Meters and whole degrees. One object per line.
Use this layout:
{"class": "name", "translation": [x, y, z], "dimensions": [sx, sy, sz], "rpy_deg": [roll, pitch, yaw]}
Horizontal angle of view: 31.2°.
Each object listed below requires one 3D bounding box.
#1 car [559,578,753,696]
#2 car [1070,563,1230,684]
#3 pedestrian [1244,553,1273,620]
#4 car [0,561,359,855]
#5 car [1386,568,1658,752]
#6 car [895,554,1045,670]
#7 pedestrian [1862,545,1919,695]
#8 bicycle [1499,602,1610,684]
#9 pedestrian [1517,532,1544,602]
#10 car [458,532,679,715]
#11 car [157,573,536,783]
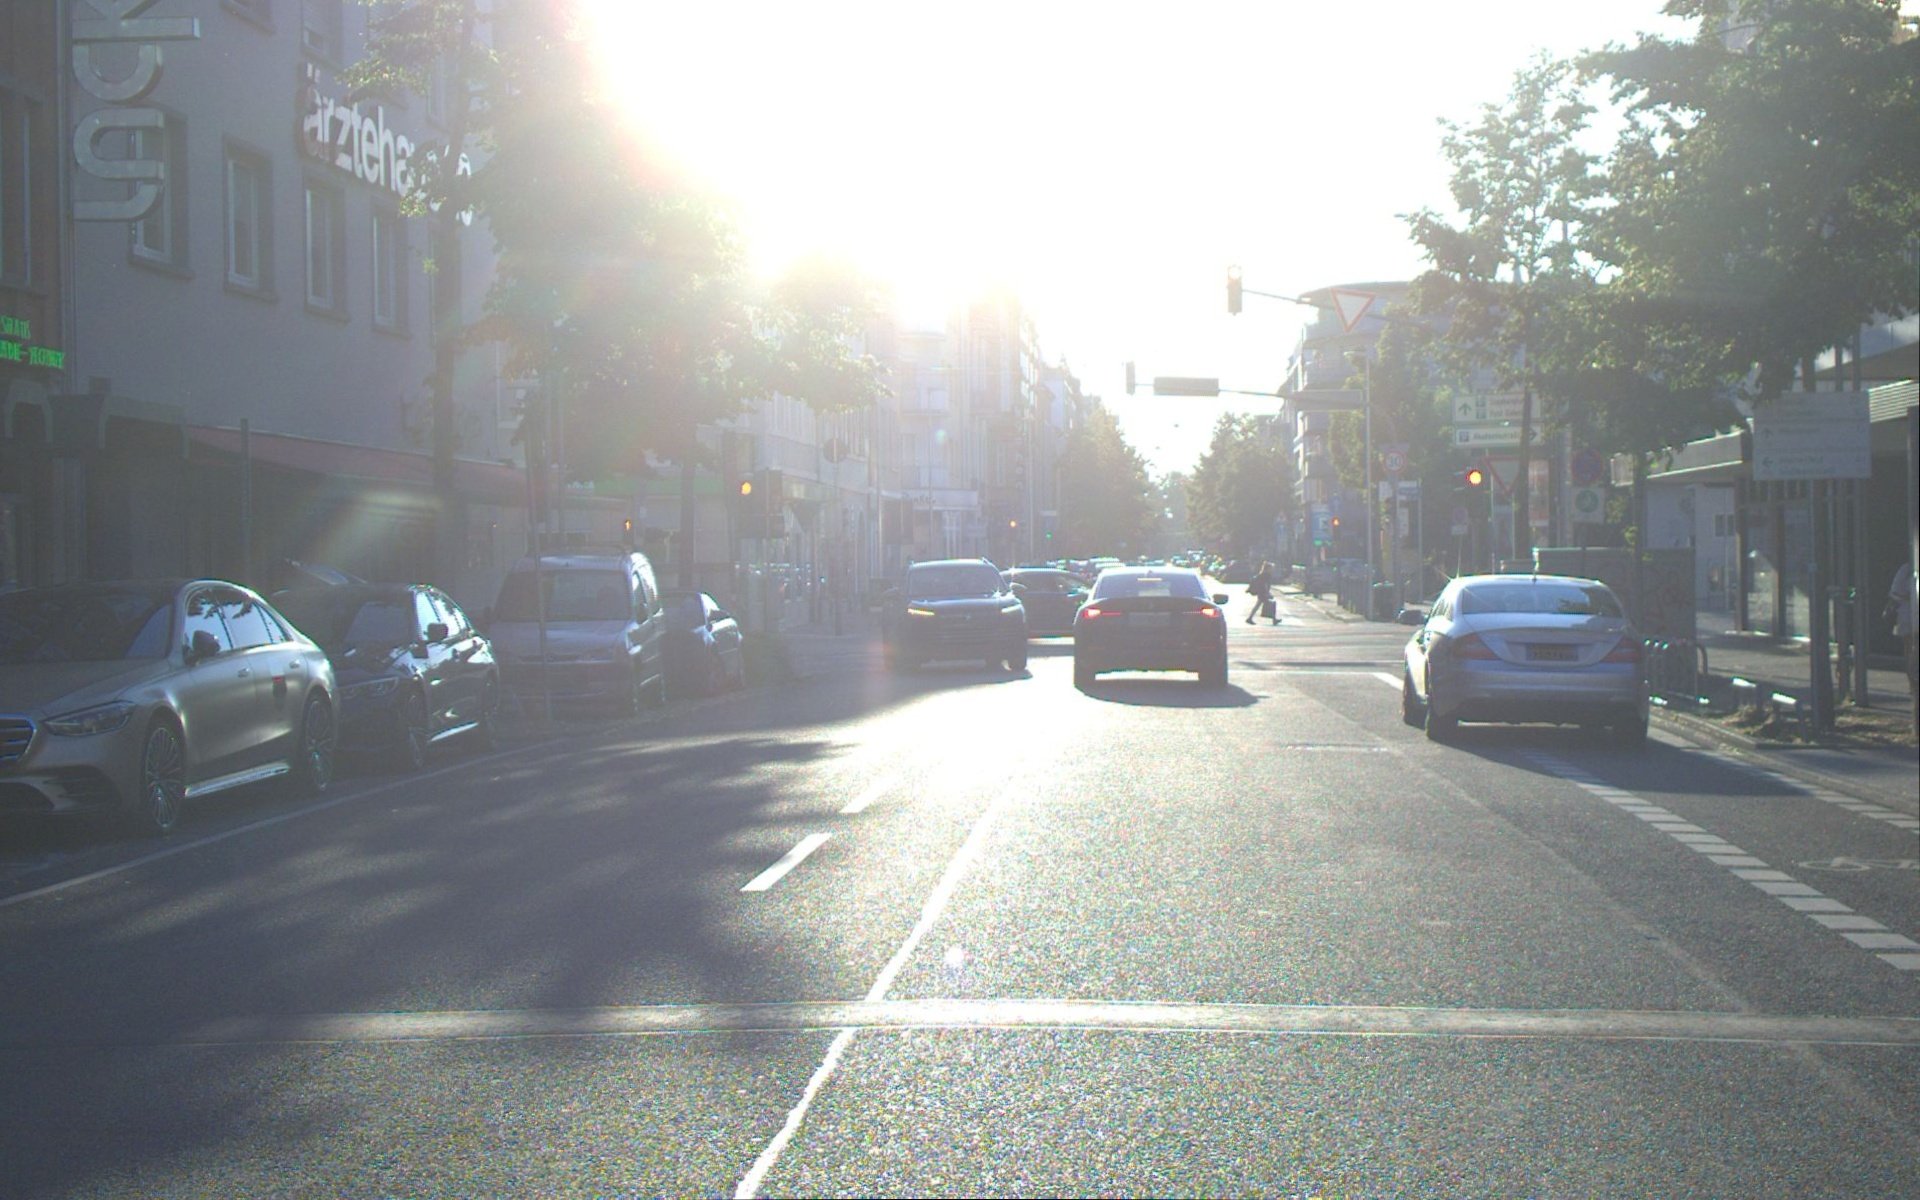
{"class": "car", "translation": [-3.725, 0.427, 42.801], "dimensions": [1.833, 1.323, 4.124], "rpy_deg": [-1, 1, 3]}
{"class": "car", "translation": [2.403, 0.249, 42.721], "dimensions": [1.884, 1.410, 4.324], "rpy_deg": [0, 1, 4]}
{"class": "pedestrian", "translation": [7.451, -0.337, 85.834], "dimensions": [0.573, 1.639, 0.528], "rpy_deg": [-1, 2, -17]}
{"class": "car", "translation": [-5.325, 0.583, 21.336], "dimensions": [1.827, 1.551, 5.135], "rpy_deg": [-2, 1, 5]}
{"class": "car", "translation": [4.805, 0.459, 29.947], "dimensions": [1.922, 1.410, 4.547], "rpy_deg": [2, 1, 4]}
{"class": "car", "translation": [0.197, 0.148, 51.466], "dimensions": [1.922, 1.596, 4.325], "rpy_deg": [0, 2, 4]}
{"class": "pedestrian", "translation": [9.910, 0.197, 36.105], "dimensions": [0.688, 1.553, 0.862], "rpy_deg": [-1, 1, 4]}
{"class": "bicycle", "translation": [8.639, 0.622, 49.993], "dimensions": [1.539, 1.142, 0.381], "rpy_deg": [1, 2, 5]}
{"class": "pedestrian", "translation": [13.999, -0.808, 84.340], "dimensions": [0.494, 1.709, 0.462], "rpy_deg": [-1, 2, -15]}
{"class": "car", "translation": [-4.133, 0.218, 36.871], "dimensions": [1.833, 1.848, 4.124], "rpy_deg": [0, 1, 1]}
{"class": "car", "translation": [-4.754, 0.552, 27.315], "dimensions": [1.827, 1.434, 4.553], "rpy_deg": [-3, 0, 4]}
